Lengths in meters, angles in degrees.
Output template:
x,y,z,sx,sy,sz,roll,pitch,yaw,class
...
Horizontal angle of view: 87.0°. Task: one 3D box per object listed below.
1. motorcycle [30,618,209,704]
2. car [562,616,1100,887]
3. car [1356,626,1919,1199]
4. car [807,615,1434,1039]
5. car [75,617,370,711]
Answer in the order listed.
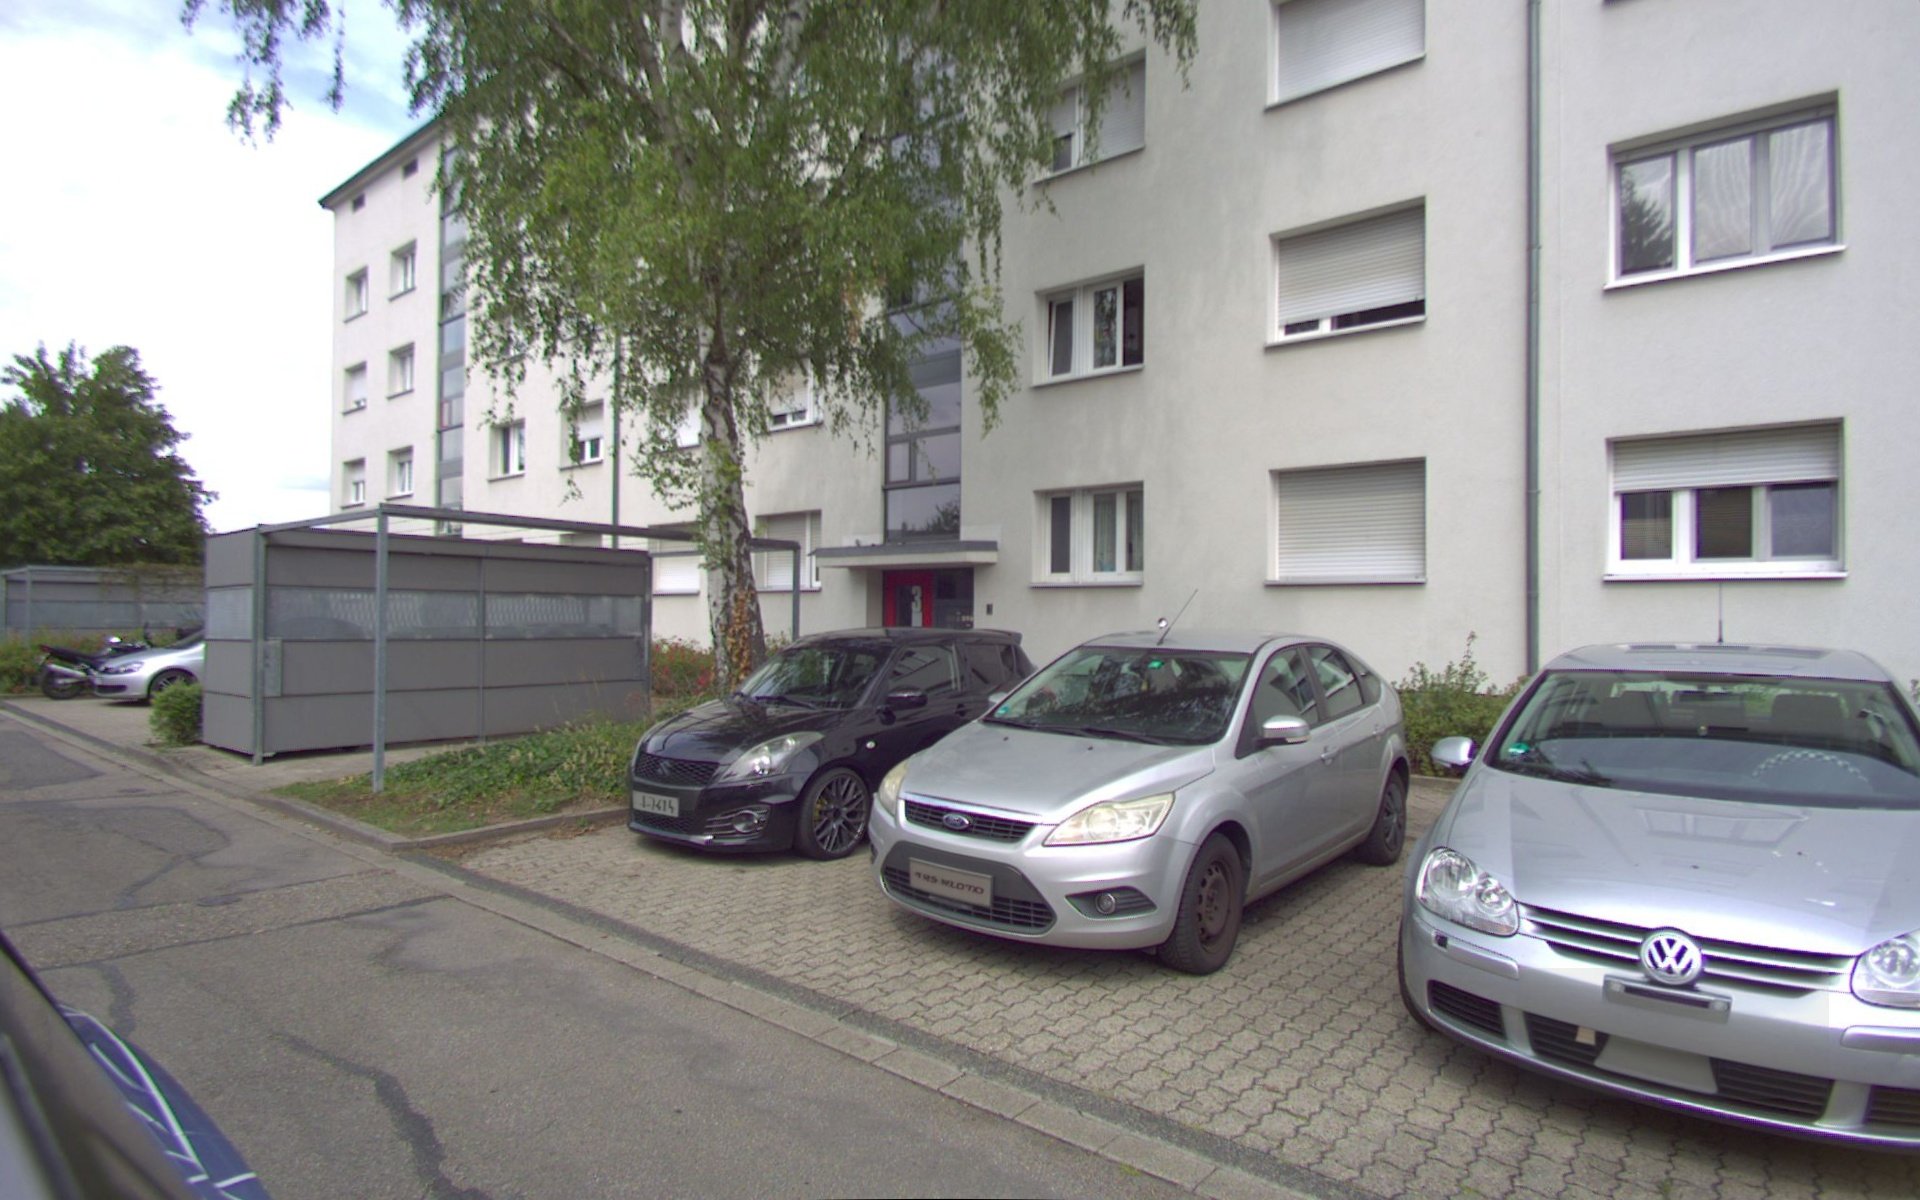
x,y,z,sx,sy,sz,roll,pitch,yaw,class
-15.297,1.115,18.486,0.713,1.475,2.353,-1,-4,39,motorcycle
-0.727,0.929,7.829,1.780,1.516,4.011,-1,-2,39,car
3.185,0.882,4.170,1.780,1.475,4.011,-1,-2,39,car
1.230,0.893,5.782,1.780,1.516,4.011,-1,-2,39,car
-13.251,1.147,18.353,1.901,1.497,3.945,-1,-4,41,car
